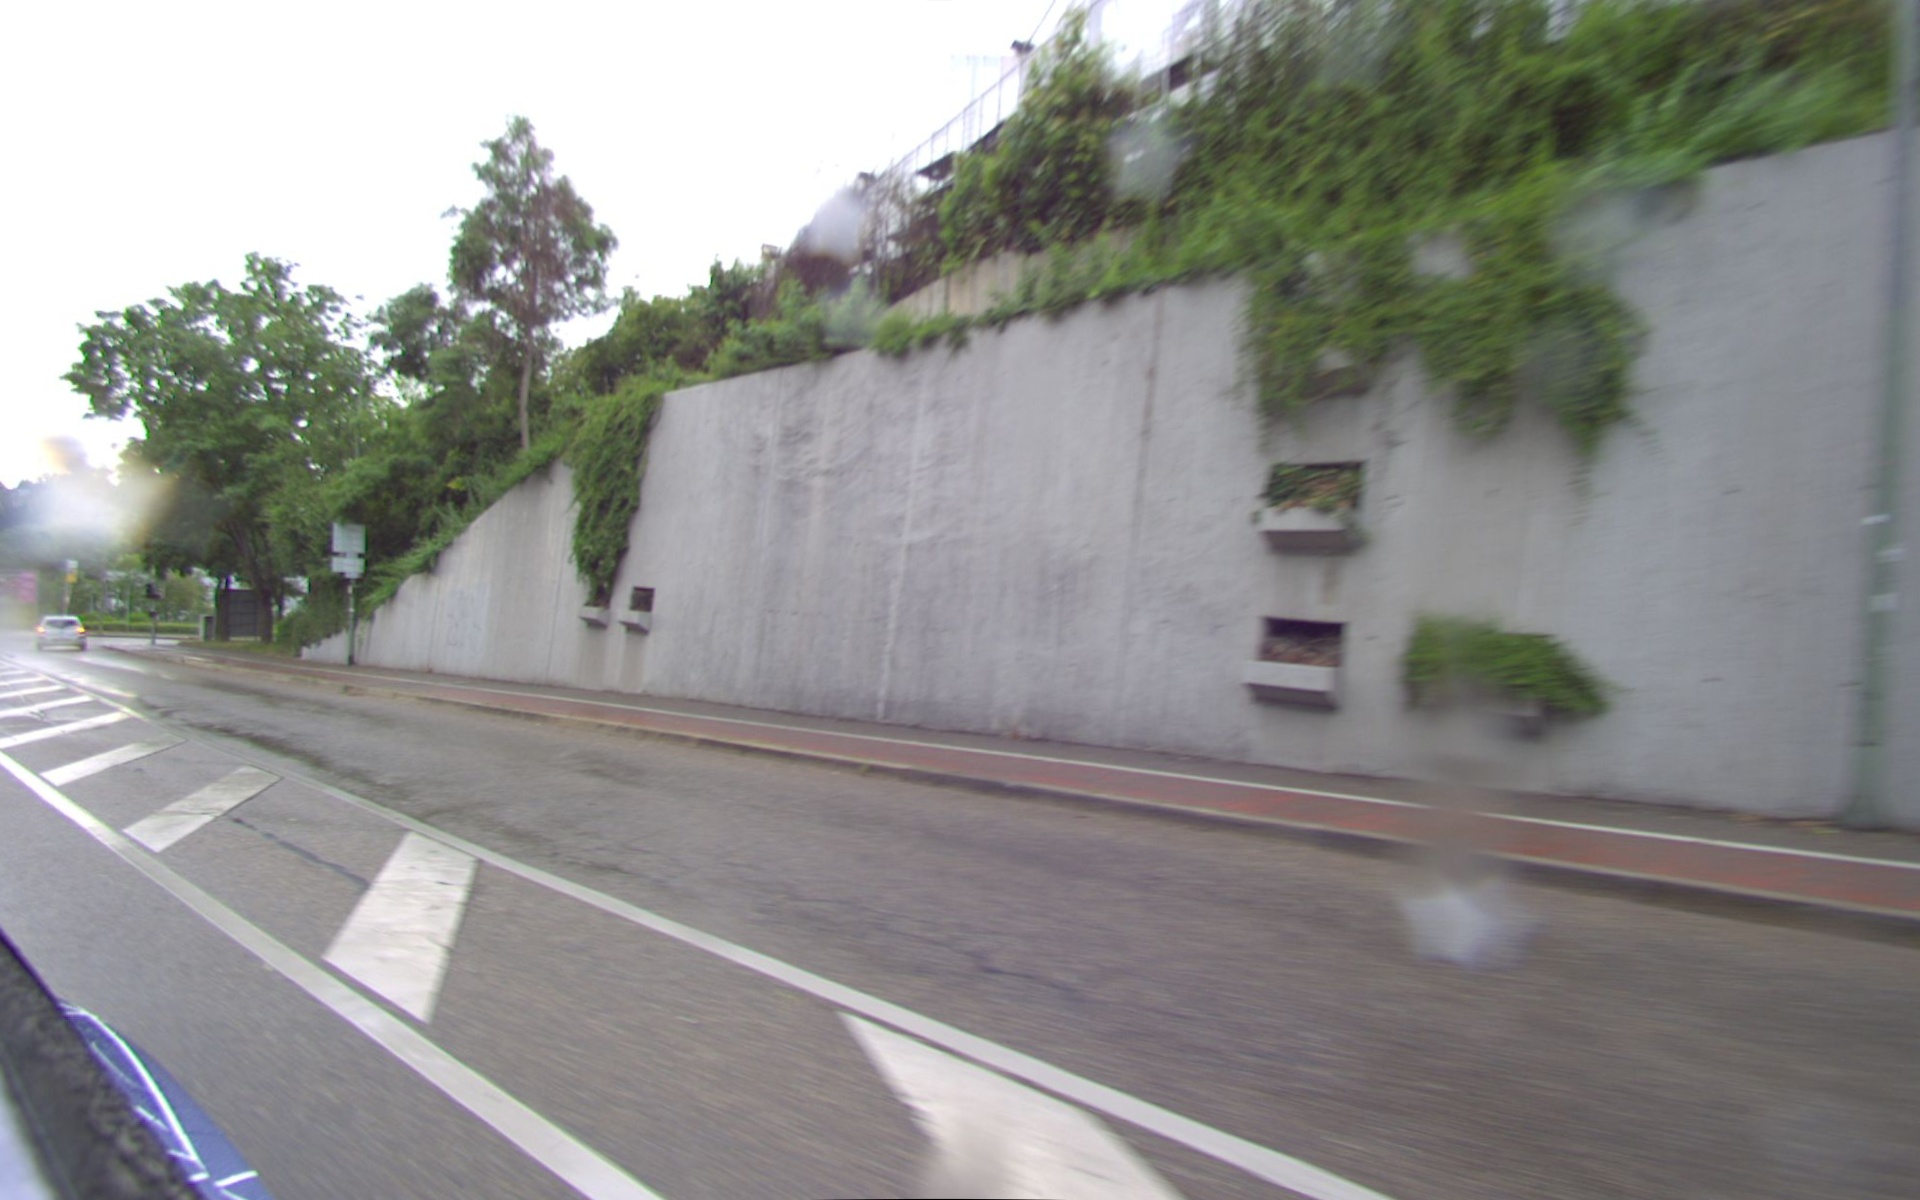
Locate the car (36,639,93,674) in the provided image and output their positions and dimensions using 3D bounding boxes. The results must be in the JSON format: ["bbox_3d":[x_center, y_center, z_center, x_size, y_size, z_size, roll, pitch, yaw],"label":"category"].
[{"bbox_3d":[-39.270,2.468,44.442,1.493,1.459,3.824,3,-4,-37],"label":"car"}]
